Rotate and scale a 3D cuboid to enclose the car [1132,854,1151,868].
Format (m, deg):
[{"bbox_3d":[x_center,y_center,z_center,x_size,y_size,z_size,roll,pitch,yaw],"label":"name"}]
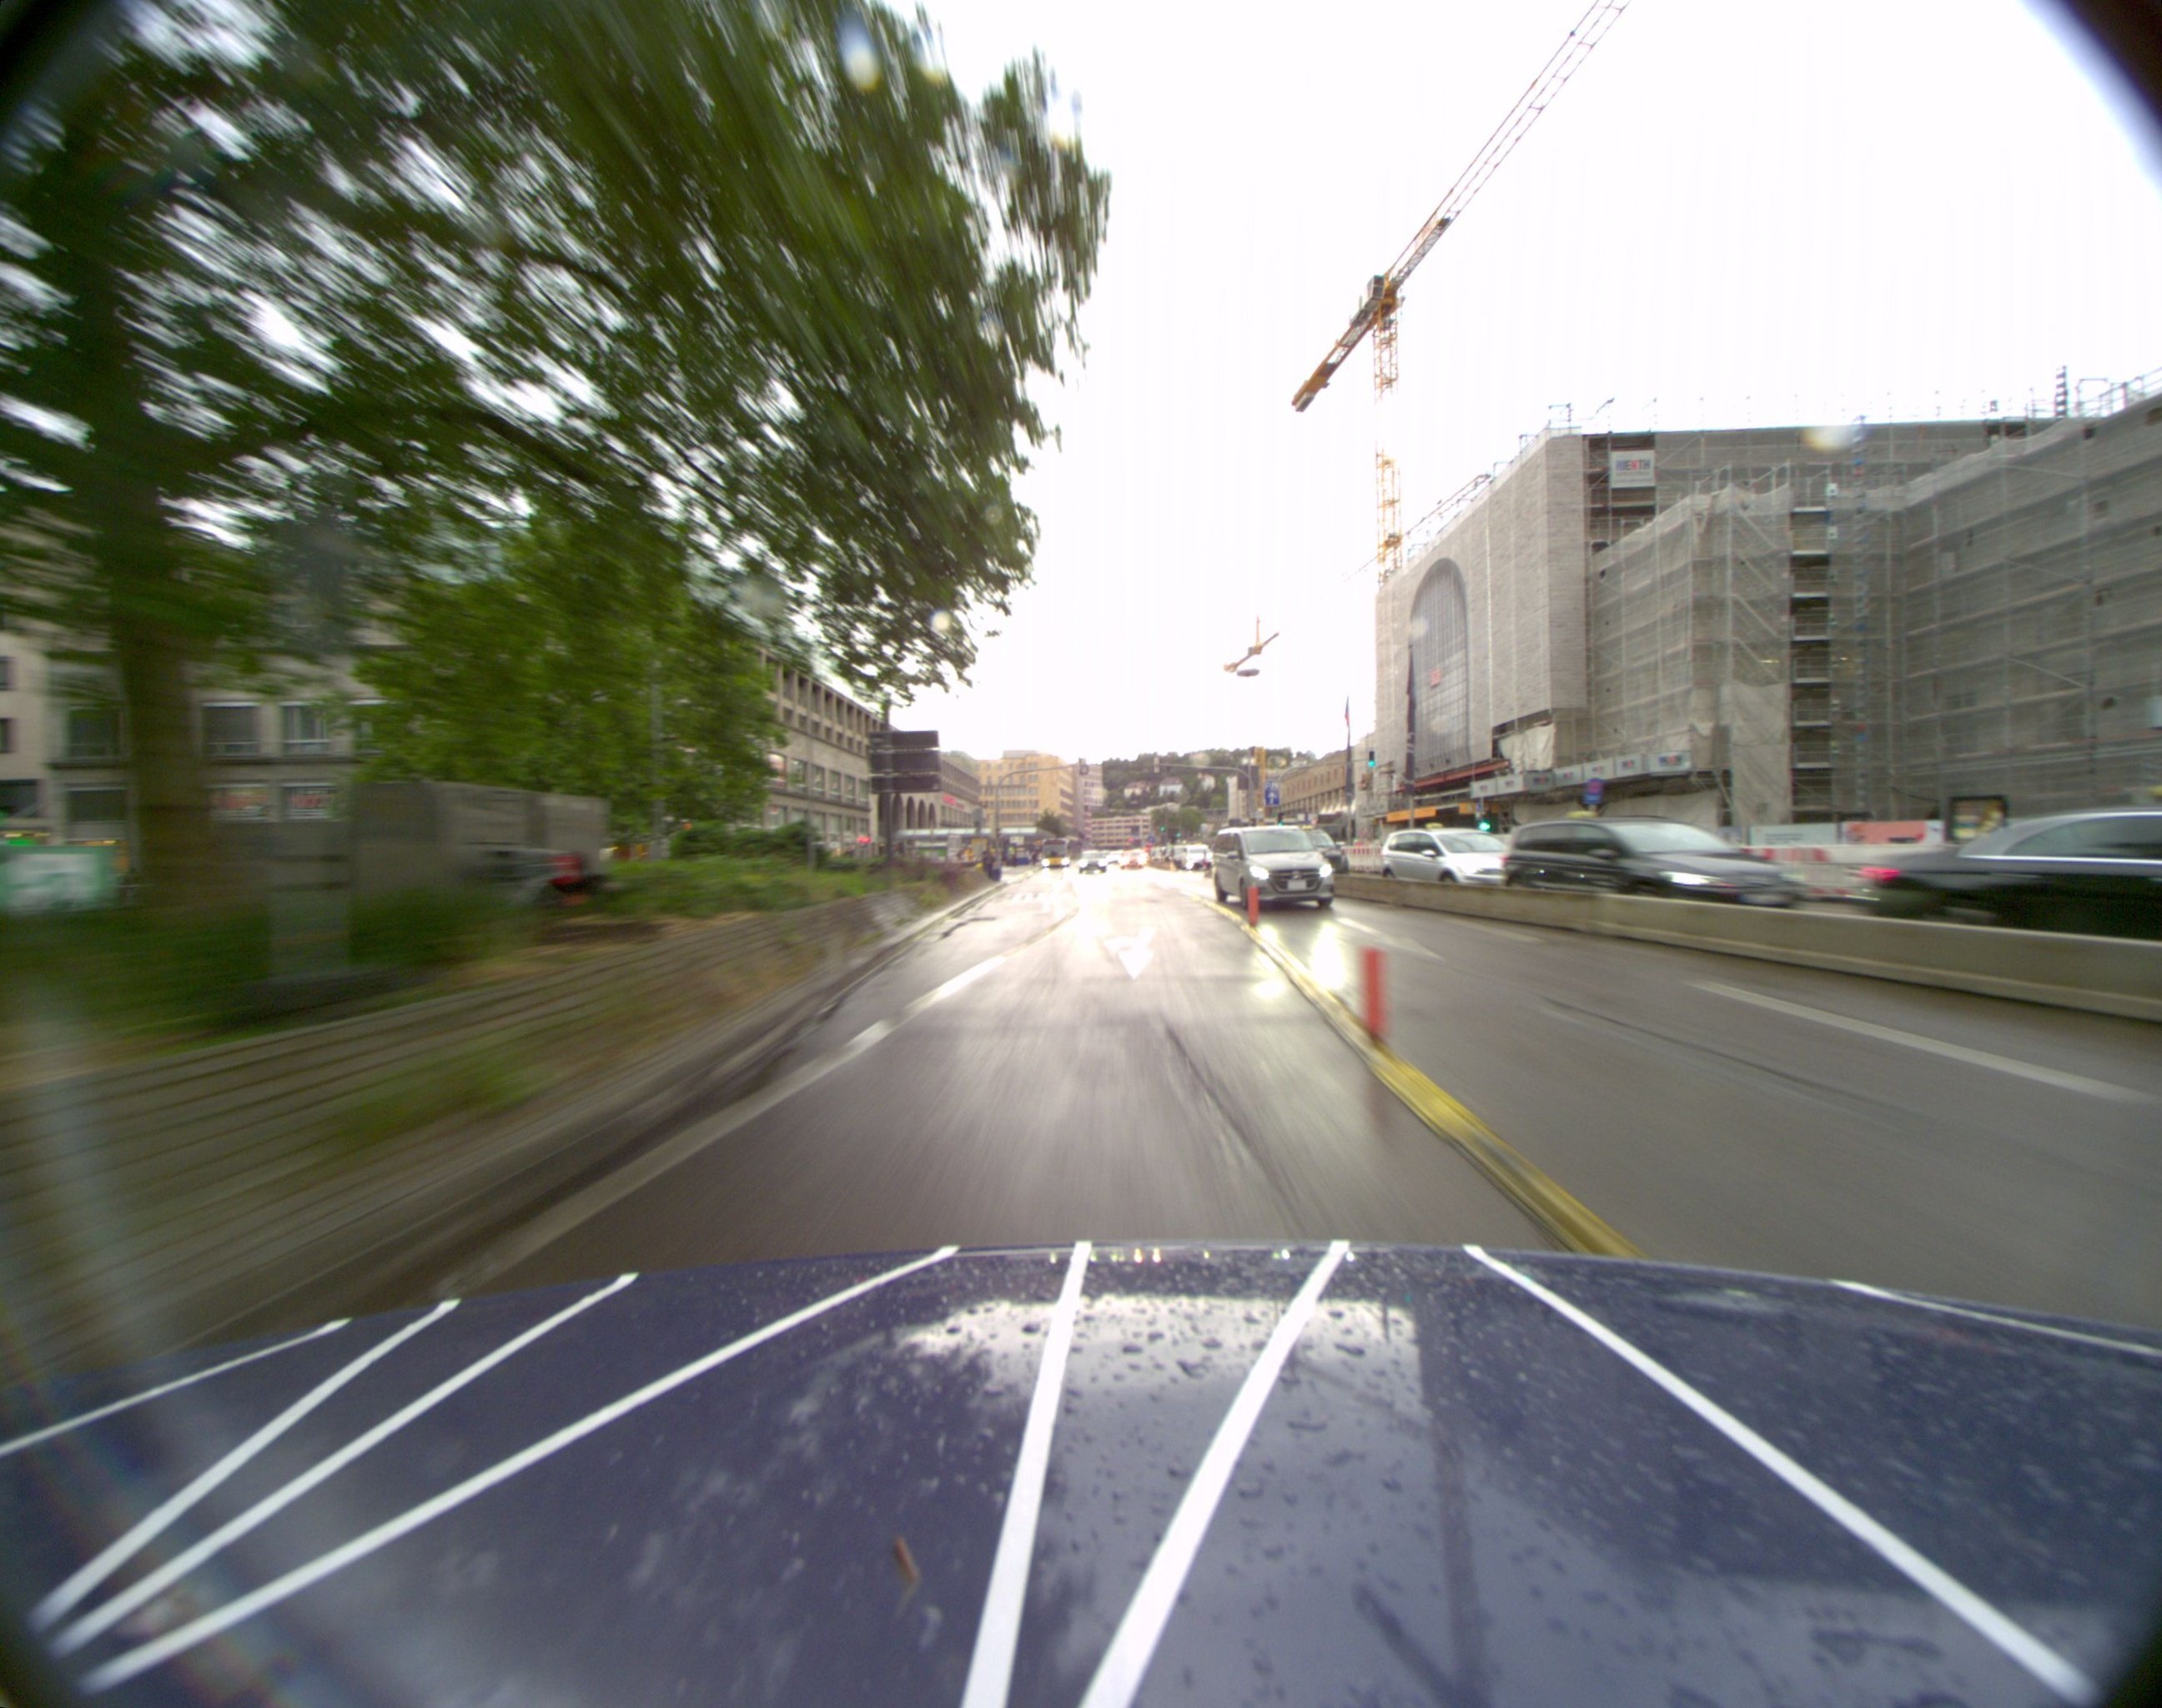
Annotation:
[{"bbox_3d":[7.842,0.909,98.630,1.999,1.696,4.832,-1,0,0],"label":"car"}]

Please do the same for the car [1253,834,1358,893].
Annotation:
[{"bbox_3d":[7.918,0.298,27.389,1.999,1.834,5.060,-2,0,-3],"label":"car"}]

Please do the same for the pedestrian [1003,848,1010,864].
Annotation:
[{"bbox_3d":[-8.713,0.224,88.638,0.795,1.918,0.705,-1,0,-9],"label":"pedestrian"}]

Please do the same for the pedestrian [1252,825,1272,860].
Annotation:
[{"bbox_3d":[9.871,-0.626,41.438,0.833,1.875,0.691,-1,0,-9],"label":"pedestrian"}]

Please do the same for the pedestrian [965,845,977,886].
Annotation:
[{"bbox_3d":[-5.841,0.600,40.376,0.556,2.133,0.667,-1,1,-14],"label":"pedestrian"}]

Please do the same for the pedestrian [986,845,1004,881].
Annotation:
[{"bbox_3d":[-4.510,0.455,39.700,0.789,1.828,0.949,-1,0,-14],"label":"pedestrian"}]

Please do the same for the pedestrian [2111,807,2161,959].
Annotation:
[{"bbox_3d":[12.667,0.322,8.688,0.636,1.743,0.822,-2,1,3],"label":"pedestrian"}]

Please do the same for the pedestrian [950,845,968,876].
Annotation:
[{"bbox_3d":[-6.220,0.332,38.789,0.657,1.546,0.635,-2,1,14],"label":"pedestrian"}]

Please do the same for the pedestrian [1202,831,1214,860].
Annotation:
[{"bbox_3d":[8.920,-0.600,53.395,0.623,2.002,0.836,-1,0,0],"label":"pedestrian"}]

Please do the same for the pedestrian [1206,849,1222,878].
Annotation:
[{"bbox_3d":[9.147,0.641,52.215,0.834,2.002,1.030,-1,0,26],"label":"pedestrian"}]

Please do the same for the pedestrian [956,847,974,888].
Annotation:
[{"bbox_3d":[-6.036,0.697,39.544,0.709,2.133,0.722,-1,1,10],"label":"pedestrian"}]

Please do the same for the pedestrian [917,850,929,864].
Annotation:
[{"bbox_3d":[-18.223,0.312,87.661,0.787,1.580,0.995,-1,1,38],"label":"pedestrian"}]

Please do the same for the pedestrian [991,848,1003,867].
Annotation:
[{"bbox_3d":[-7.371,0.335,66.637,0.787,1.632,0.790,-1,0,15],"label":"pedestrian"}]

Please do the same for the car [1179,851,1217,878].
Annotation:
[{"bbox_3d":[7.542,0.655,49.290,1.791,1.675,4.667,-1,0,1],"label":"car"}]

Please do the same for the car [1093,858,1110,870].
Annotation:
[{"bbox_3d":[2.678,1.260,97.927,1.998,1.548,3.909,-1,0,3],"label":"car"}]

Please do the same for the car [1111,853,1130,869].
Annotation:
[{"bbox_3d":[4.469,0.767,86.091,1.872,1.747,3.901,-2,0,1],"label":"car"}]

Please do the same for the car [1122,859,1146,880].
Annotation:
[{"bbox_3d":[4.166,1.200,60.423,1.709,1.485,3.671,-2,0,2],"label":"car"}]

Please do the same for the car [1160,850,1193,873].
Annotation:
[{"bbox_3d":[7.605,0.606,61.114,1.998,1.776,4.847,-1,0,0],"label":"car"}]

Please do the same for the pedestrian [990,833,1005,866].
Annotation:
[{"bbox_3d":[-4.624,-0.235,42.019,0.748,1.794,0.709,-1,0,-14],"label":"pedestrian"}]

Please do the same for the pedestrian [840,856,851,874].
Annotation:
[{"bbox_3d":[-22.359,1.012,72.218,0.723,1.686,0.776,-2,1,0],"label":"pedestrian"}]

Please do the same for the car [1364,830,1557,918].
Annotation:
[{"bbox_3d":[8.489,0.398,17.590,1.829,1.686,4.772,-2,0,-3],"label":"car"}]

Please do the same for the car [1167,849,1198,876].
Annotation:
[{"bbox_3d":[7.391,0.613,55.809,1.718,1.881,4.610,-1,0,1],"label":"car"}]

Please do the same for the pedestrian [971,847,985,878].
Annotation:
[{"bbox_3d":[-5.898,0.484,43.412,0.541,1.794,0.756,-1,1,-27],"label":"pedestrian"}]

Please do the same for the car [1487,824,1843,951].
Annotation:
[{"bbox_3d":[8.455,0.403,11.660,1.829,1.502,4.489,-2,0,-3],"label":"car"}]

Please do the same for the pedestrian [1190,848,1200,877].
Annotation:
[{"bbox_3d":[7.986,0.578,53.232,0.529,2.002,0.890,-1,0,-1],"label":"pedestrian"}]

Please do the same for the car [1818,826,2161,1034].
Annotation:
[{"bbox_3d":[8.918,0.536,5.572,1.978,1.502,5.003,-2,0,-3],"label":"car"}]

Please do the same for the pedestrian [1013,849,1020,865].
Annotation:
[{"bbox_3d":[-6.585,0.308,77.425,0.595,1.609,0.511,-2,1,-9],"label":"pedestrian"}]

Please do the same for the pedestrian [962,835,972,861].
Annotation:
[{"bbox_3d":[-8.747,-0.451,58.229,0.708,1.921,0.788,-1,0,-9],"label":"pedestrian"}]

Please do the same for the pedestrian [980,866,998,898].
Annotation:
[{"bbox_3d":[-4.939,1.487,40.792,0.877,1.681,0.758,-1,0,1],"label":"pedestrian"}]

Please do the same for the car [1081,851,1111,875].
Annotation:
[{"bbox_3d":[1.085,0.611,53.028,1.822,1.455,4.701,-4,0,3],"label":"car"}]

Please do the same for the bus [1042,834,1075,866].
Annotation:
[{"bbox_3d":[-2.313,-0.438,81.502,3.121,3.186,9.241,-2,0,1],"label":"bus"}]

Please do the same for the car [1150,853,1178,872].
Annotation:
[{"bbox_3d":[7.870,0.799,72.429,2.054,1.701,5.055,-1,0,0],"label":"car"}]

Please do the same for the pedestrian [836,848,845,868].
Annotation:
[{"bbox_3d":[-23.711,0.407,74.867,0.790,1.918,0.653,-1,1,-23],"label":"pedestrian"}]

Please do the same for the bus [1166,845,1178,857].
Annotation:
[{"bbox_3d":[29.154,-0.897,244.778,2.916,3.556,19.083,0,0,4],"label":"bus"}]

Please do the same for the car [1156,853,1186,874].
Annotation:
[{"bbox_3d":[7.938,0.784,67.347,1.999,1.776,4.453,-1,0,-1],"label":"car"}]

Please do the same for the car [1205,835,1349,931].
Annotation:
[{"bbox_3d":[4.480,0.608,18.327,1.999,1.893,5.250,-3,0,0],"label":"car"}]
